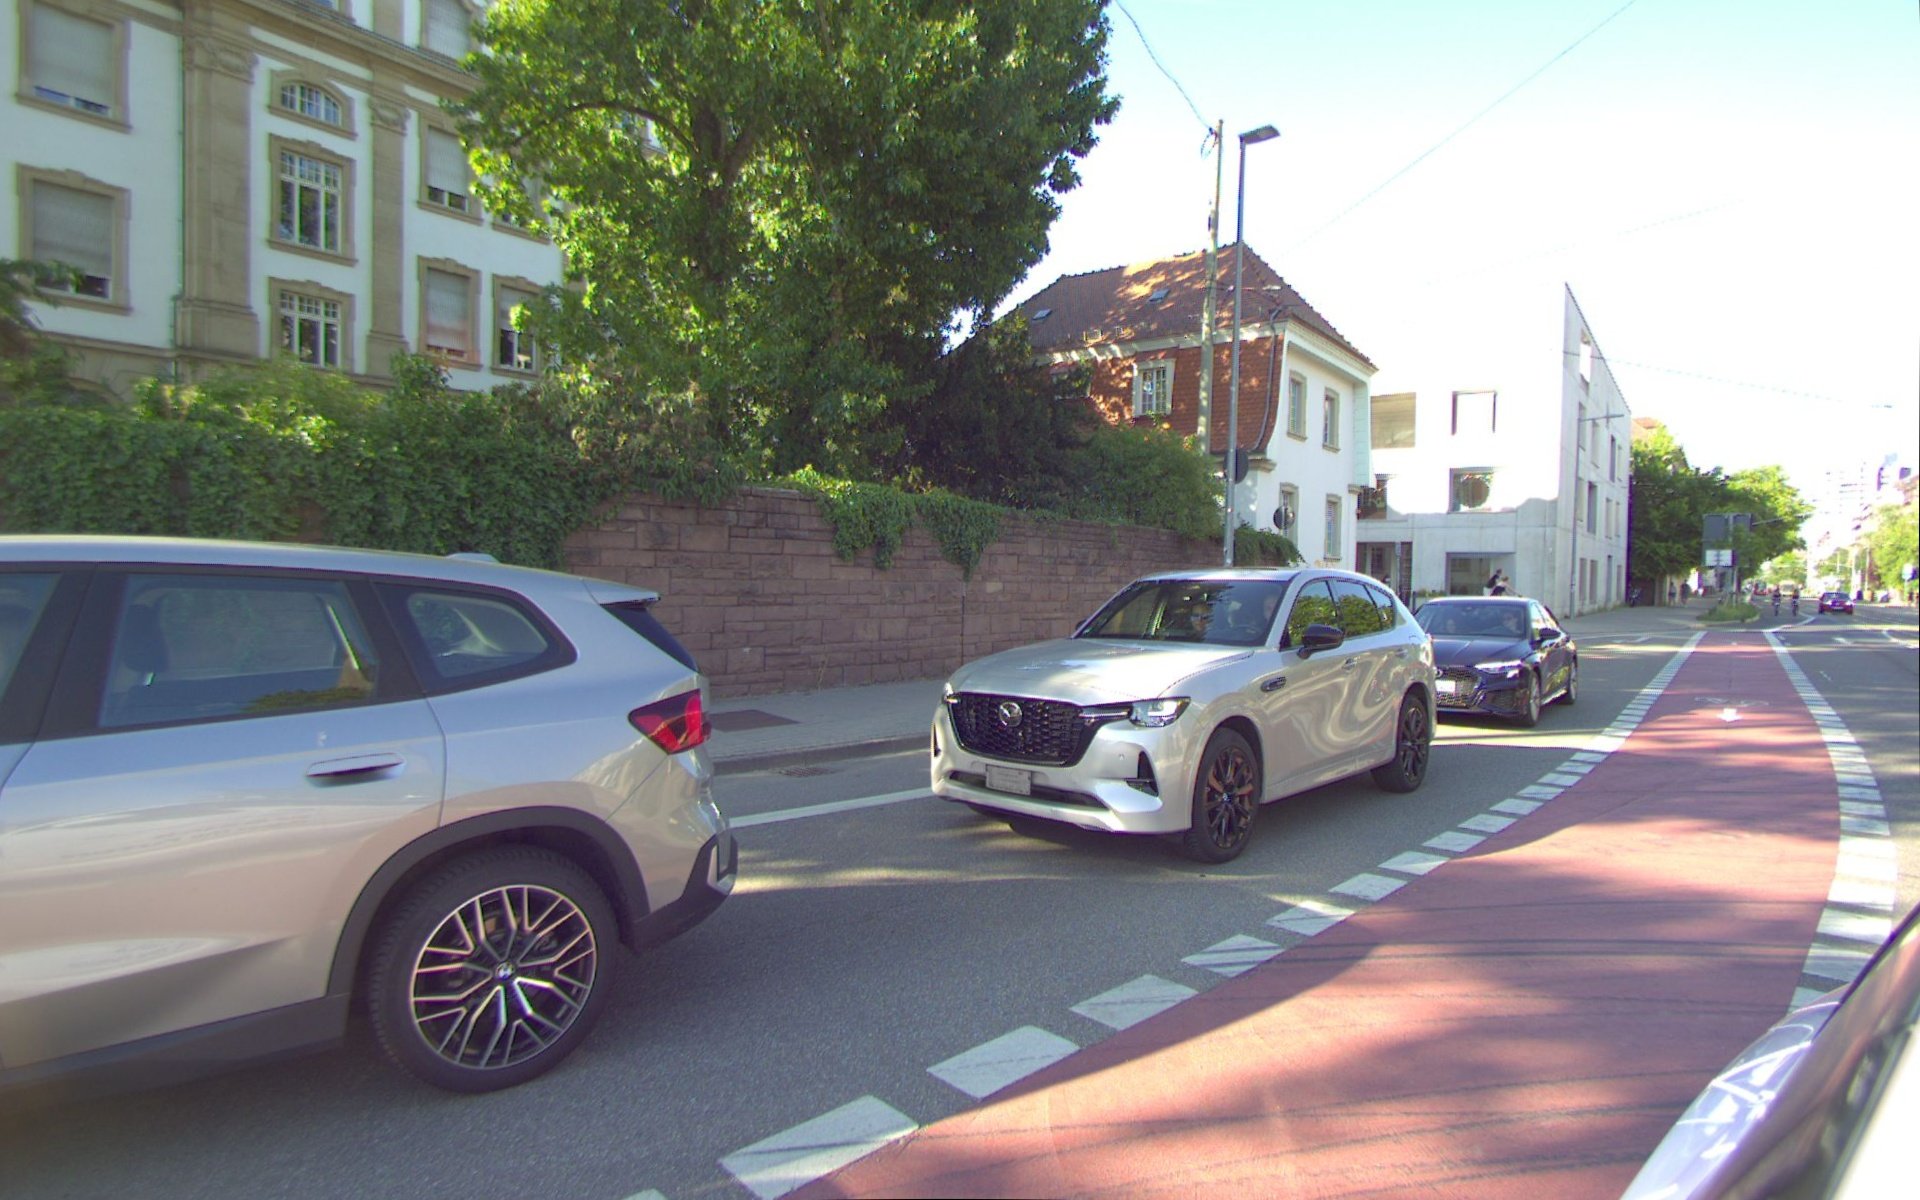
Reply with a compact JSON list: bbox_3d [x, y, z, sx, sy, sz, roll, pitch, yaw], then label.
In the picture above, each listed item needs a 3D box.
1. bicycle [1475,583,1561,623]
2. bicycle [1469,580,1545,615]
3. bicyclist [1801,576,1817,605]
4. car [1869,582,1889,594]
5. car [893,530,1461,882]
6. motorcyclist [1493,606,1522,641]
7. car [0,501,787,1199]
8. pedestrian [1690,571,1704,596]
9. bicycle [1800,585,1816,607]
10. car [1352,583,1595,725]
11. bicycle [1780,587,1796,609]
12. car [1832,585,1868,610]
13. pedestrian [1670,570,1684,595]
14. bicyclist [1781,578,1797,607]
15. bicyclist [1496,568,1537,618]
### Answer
[{"bbox_3d":[18.918,0.098,34.387,2.421,1.266,0.673,2,2,15],"label":"bicycle"},{"bbox_3d":[20.712,-0.104,38.365,2.426,1.266,0.672,2,2,20],"label":"bicycle"},{"bbox_3d":[50.215,-0.549,59.894,0.673,1.667,1.014,2,2,40],"label":"bicyclist"},{"bbox_3d":[127.869,-1.685,140.851,1.640,1.580,3.602,0,0,36],"label":"car"},{"bbox_3d":[1.812,0.491,7.227,1.940,1.713,4.460,0,1,44],"label":"car"},{"bbox_3d":[20.745,0.885,38.373,0.843,1.266,0.672,2,2,20],"label":"motorcyclist"},{"bbox_3d":[-2.830,0.577,2.956,4.248,1.614,1.792,0,0,-36],"label":"car"},{"bbox_3d":[48.457,-1.094,66.542,0.673,1.668,0.806,1,1,40],"label":"pedestrian"},{"bbox_3d":[50.230,-0.247,59.922,0.673,1.265,2.421,2,2,40],"label":"bicycle"},{"bbox_3d":[6.414,0.526,12.437,1.782,1.451,3.941,0,1,41],"label":"car"},{"bbox_3d":[49.727,-0.156,60.742,0.673,1.265,2.421,2,2,40],"label":"bicycle"},{"bbox_3d":[57.758,-0.183,65.647,1.644,1.580,3.593,0,0,44],"label":"car"},{"bbox_3d":[47.595,-1.147,67.146,0.673,1.668,0.806,1,1,40],"label":"pedestrian"},{"bbox_3d":[49.717,-0.459,60.715,0.673,1.667,1.014,2,2,40],"label":"bicyclist"},{"bbox_3d":[18.895,-0.257,34.391,1.014,1.667,0.673,2,1,15],"label":"bicyclist"}]
